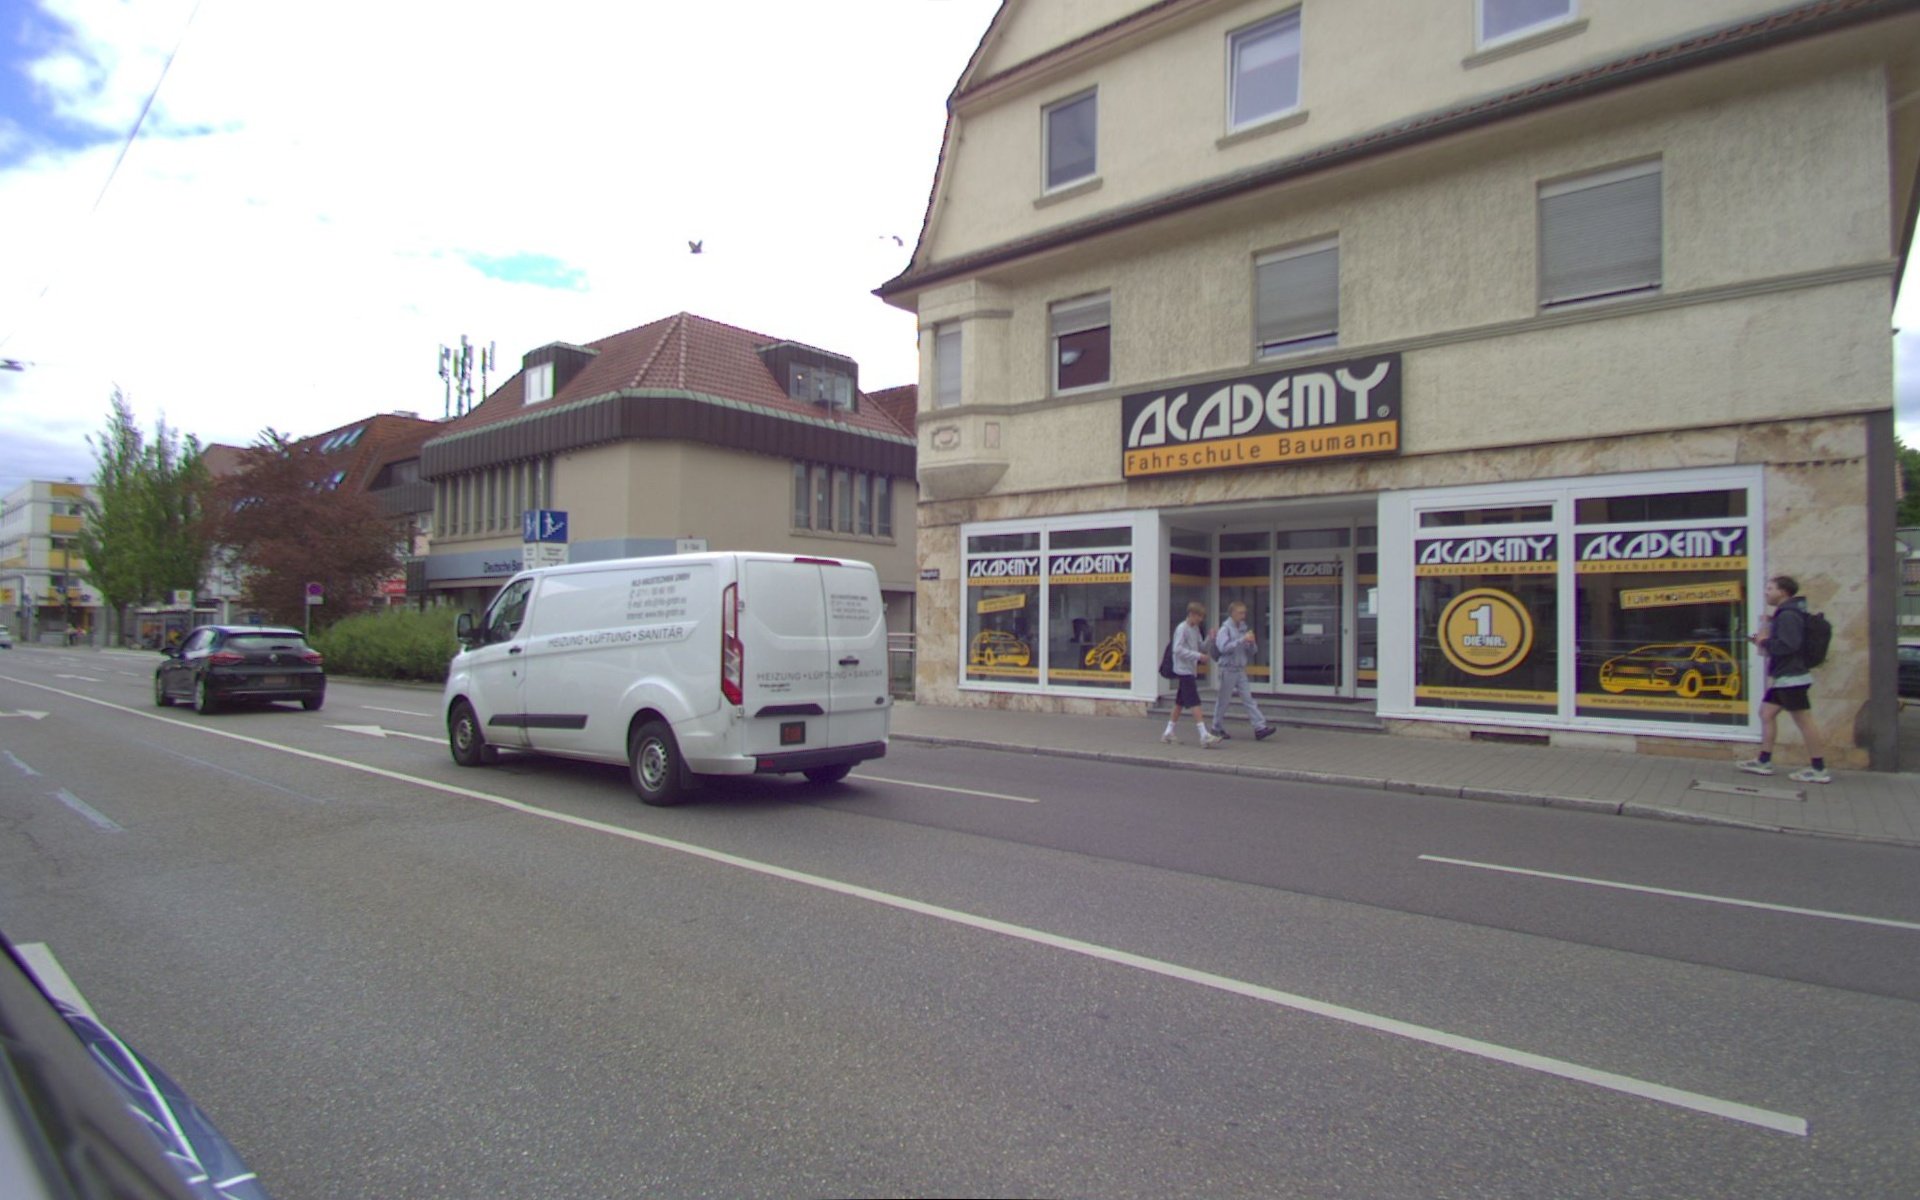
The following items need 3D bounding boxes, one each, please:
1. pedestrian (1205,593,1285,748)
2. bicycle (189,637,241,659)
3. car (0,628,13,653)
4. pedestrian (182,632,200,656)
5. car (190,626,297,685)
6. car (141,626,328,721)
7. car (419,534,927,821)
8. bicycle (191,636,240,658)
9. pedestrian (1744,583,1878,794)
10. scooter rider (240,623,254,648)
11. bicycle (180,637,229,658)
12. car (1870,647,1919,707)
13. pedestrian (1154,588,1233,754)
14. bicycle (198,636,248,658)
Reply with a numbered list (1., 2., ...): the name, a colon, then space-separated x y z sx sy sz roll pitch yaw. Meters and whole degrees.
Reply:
1. pedestrian: 3.400 0.809 12.072 0.680 1.775 0.680 -2 -1 40
2. bicycle: -37.812 2.424 51.394 0.646 1.098 2.003 -1 -2 31
3. car: -62.631 2.603 65.374 3.924 1.580 1.623 -2 -5 41
4. pedestrian: -45.269 2.599 59.576 0.588 1.374 0.704 -3 -3 42
5. car: -19.987 1.518 28.182 3.505 1.535 1.600 -2 -4 41
6. car: -12.356 1.179 17.159 3.919 1.439 1.600 -2 -3 40
7. car: -2.879 0.621 9.397 5.135 1.976 1.941 -1 -4 40
8. bicycle: -39.507 2.480 53.711 0.646 1.098 2.003 -1 -2 31
9. pedestrian: 7.591 0.748 9.074 0.805 1.760 0.859 -2 0 36
10. scooter rider: -49.567 2.448 70.373 0.587 1.725 0.607 -2 0 37
11. bicycle: -40.458 2.529 54.216 0.648 1.098 2.000 -1 -2 36
12. car: 24.592 1.938 25.828 1.765 1.439 3.871 -1 -3 39
13. pedestrian: 2.695 0.803 11.697 0.680 1.838 0.627 -2 -3 40
14. bicycle: -38.127 2.437 52.399 0.646 1.098 2.003 -1 -2 31
